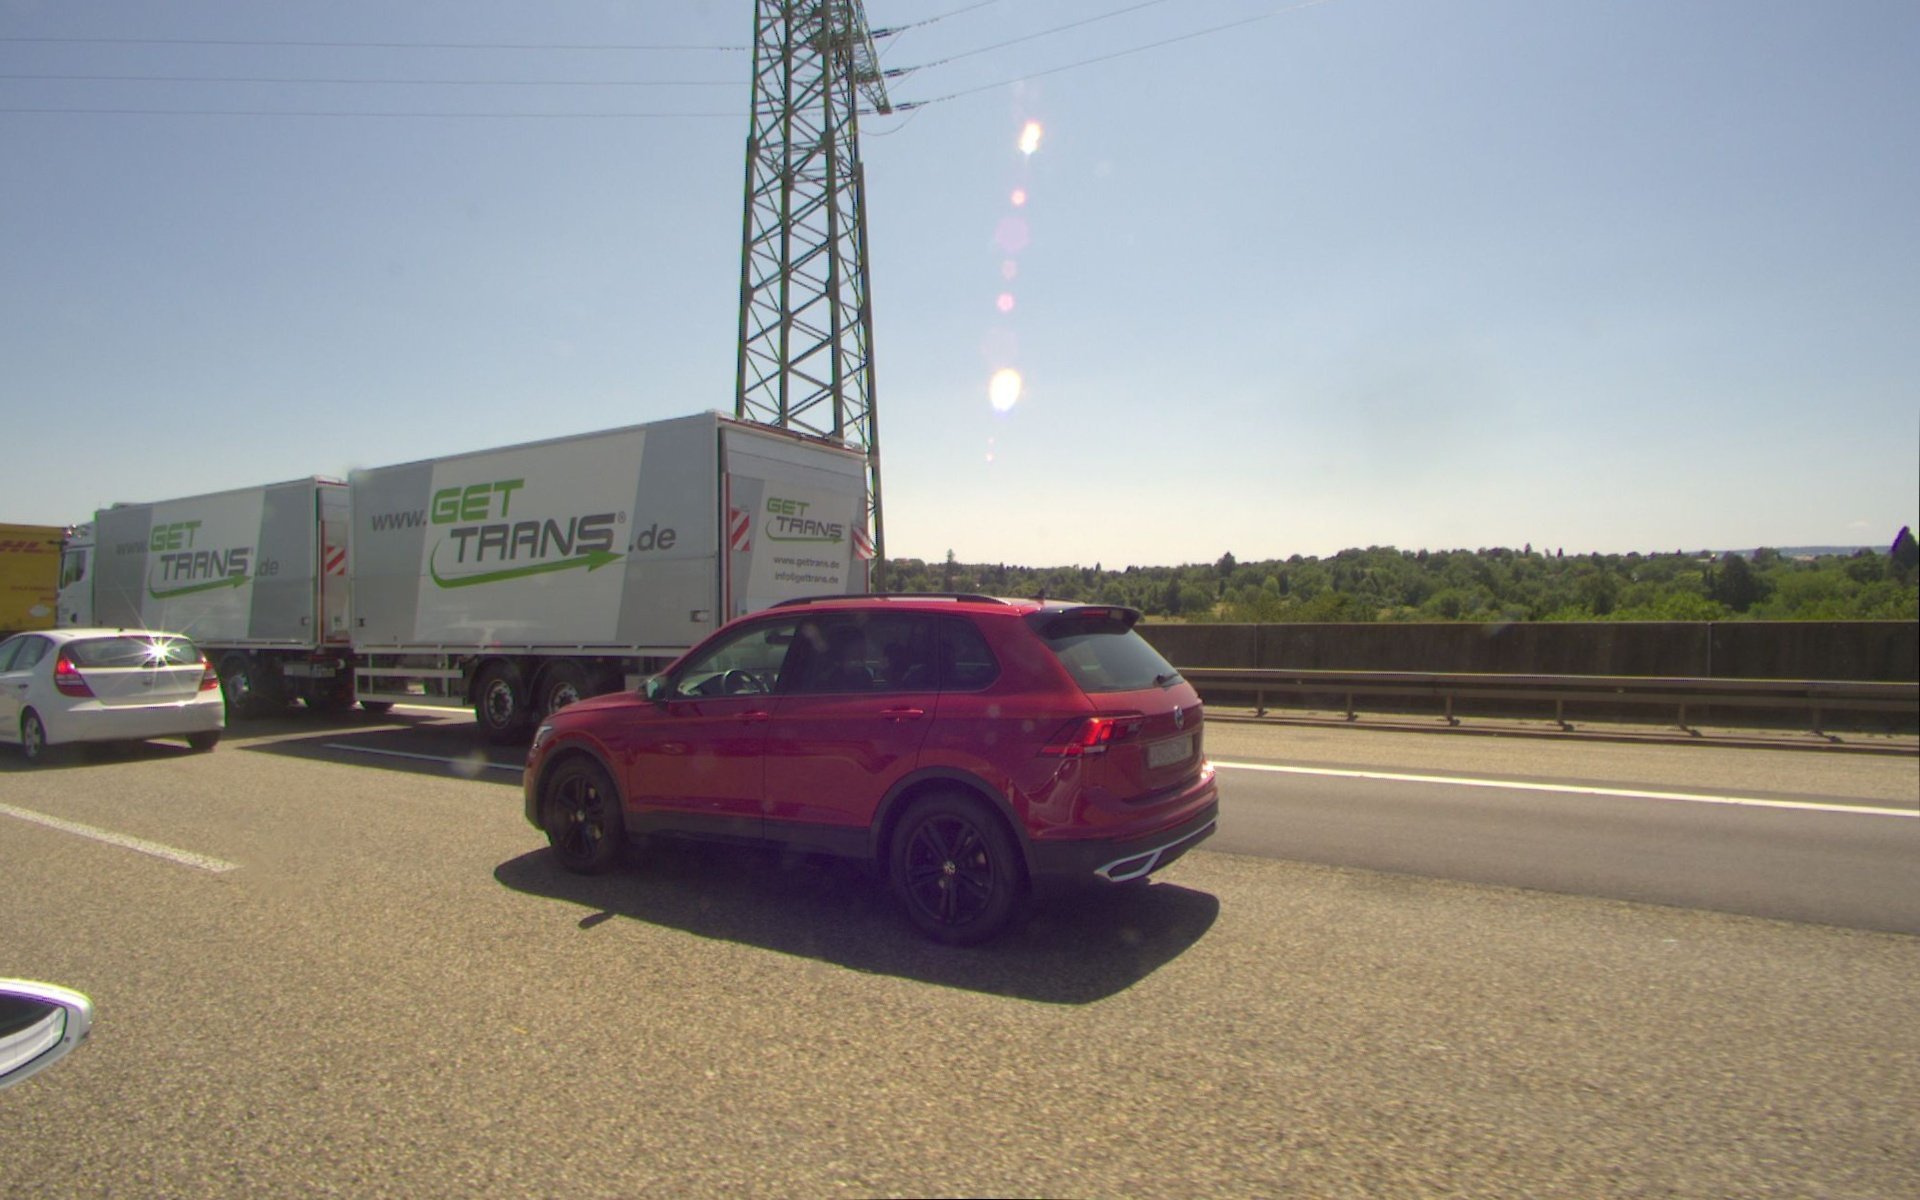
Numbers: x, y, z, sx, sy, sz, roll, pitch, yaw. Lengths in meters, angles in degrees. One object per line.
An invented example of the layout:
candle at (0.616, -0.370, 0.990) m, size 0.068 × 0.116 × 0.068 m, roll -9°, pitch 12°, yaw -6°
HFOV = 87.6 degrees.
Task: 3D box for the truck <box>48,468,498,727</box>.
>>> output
truck at (-12.927, 0.056, 18.270) m, size 10.851 × 3.695 × 2.652 m, roll -1°, pitch -1°, yaw 32°

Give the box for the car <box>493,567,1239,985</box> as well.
car at (-0.682, 0.757, 5.894) m, size 4.163 × 1.683 × 1.772 m, roll -1°, pitch -1°, yaw 32°

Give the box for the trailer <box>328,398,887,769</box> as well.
trailer at (-4.961, -0.096, 13.340) m, size 7.899 × 3.748 × 2.693 m, roll -1°, pitch -1°, yaw 32°

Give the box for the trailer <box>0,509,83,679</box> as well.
trailer at (-27.873, -0.052, 27.814) m, size 8.883 × 4.293 × 2.860 m, roll -1°, pitch -2°, yaw 32°

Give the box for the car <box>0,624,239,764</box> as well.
car at (-10.974, 1.043, 12.474) m, size 4.231 × 1.474 × 1.785 m, roll -1°, pitch -1°, yaw 32°
